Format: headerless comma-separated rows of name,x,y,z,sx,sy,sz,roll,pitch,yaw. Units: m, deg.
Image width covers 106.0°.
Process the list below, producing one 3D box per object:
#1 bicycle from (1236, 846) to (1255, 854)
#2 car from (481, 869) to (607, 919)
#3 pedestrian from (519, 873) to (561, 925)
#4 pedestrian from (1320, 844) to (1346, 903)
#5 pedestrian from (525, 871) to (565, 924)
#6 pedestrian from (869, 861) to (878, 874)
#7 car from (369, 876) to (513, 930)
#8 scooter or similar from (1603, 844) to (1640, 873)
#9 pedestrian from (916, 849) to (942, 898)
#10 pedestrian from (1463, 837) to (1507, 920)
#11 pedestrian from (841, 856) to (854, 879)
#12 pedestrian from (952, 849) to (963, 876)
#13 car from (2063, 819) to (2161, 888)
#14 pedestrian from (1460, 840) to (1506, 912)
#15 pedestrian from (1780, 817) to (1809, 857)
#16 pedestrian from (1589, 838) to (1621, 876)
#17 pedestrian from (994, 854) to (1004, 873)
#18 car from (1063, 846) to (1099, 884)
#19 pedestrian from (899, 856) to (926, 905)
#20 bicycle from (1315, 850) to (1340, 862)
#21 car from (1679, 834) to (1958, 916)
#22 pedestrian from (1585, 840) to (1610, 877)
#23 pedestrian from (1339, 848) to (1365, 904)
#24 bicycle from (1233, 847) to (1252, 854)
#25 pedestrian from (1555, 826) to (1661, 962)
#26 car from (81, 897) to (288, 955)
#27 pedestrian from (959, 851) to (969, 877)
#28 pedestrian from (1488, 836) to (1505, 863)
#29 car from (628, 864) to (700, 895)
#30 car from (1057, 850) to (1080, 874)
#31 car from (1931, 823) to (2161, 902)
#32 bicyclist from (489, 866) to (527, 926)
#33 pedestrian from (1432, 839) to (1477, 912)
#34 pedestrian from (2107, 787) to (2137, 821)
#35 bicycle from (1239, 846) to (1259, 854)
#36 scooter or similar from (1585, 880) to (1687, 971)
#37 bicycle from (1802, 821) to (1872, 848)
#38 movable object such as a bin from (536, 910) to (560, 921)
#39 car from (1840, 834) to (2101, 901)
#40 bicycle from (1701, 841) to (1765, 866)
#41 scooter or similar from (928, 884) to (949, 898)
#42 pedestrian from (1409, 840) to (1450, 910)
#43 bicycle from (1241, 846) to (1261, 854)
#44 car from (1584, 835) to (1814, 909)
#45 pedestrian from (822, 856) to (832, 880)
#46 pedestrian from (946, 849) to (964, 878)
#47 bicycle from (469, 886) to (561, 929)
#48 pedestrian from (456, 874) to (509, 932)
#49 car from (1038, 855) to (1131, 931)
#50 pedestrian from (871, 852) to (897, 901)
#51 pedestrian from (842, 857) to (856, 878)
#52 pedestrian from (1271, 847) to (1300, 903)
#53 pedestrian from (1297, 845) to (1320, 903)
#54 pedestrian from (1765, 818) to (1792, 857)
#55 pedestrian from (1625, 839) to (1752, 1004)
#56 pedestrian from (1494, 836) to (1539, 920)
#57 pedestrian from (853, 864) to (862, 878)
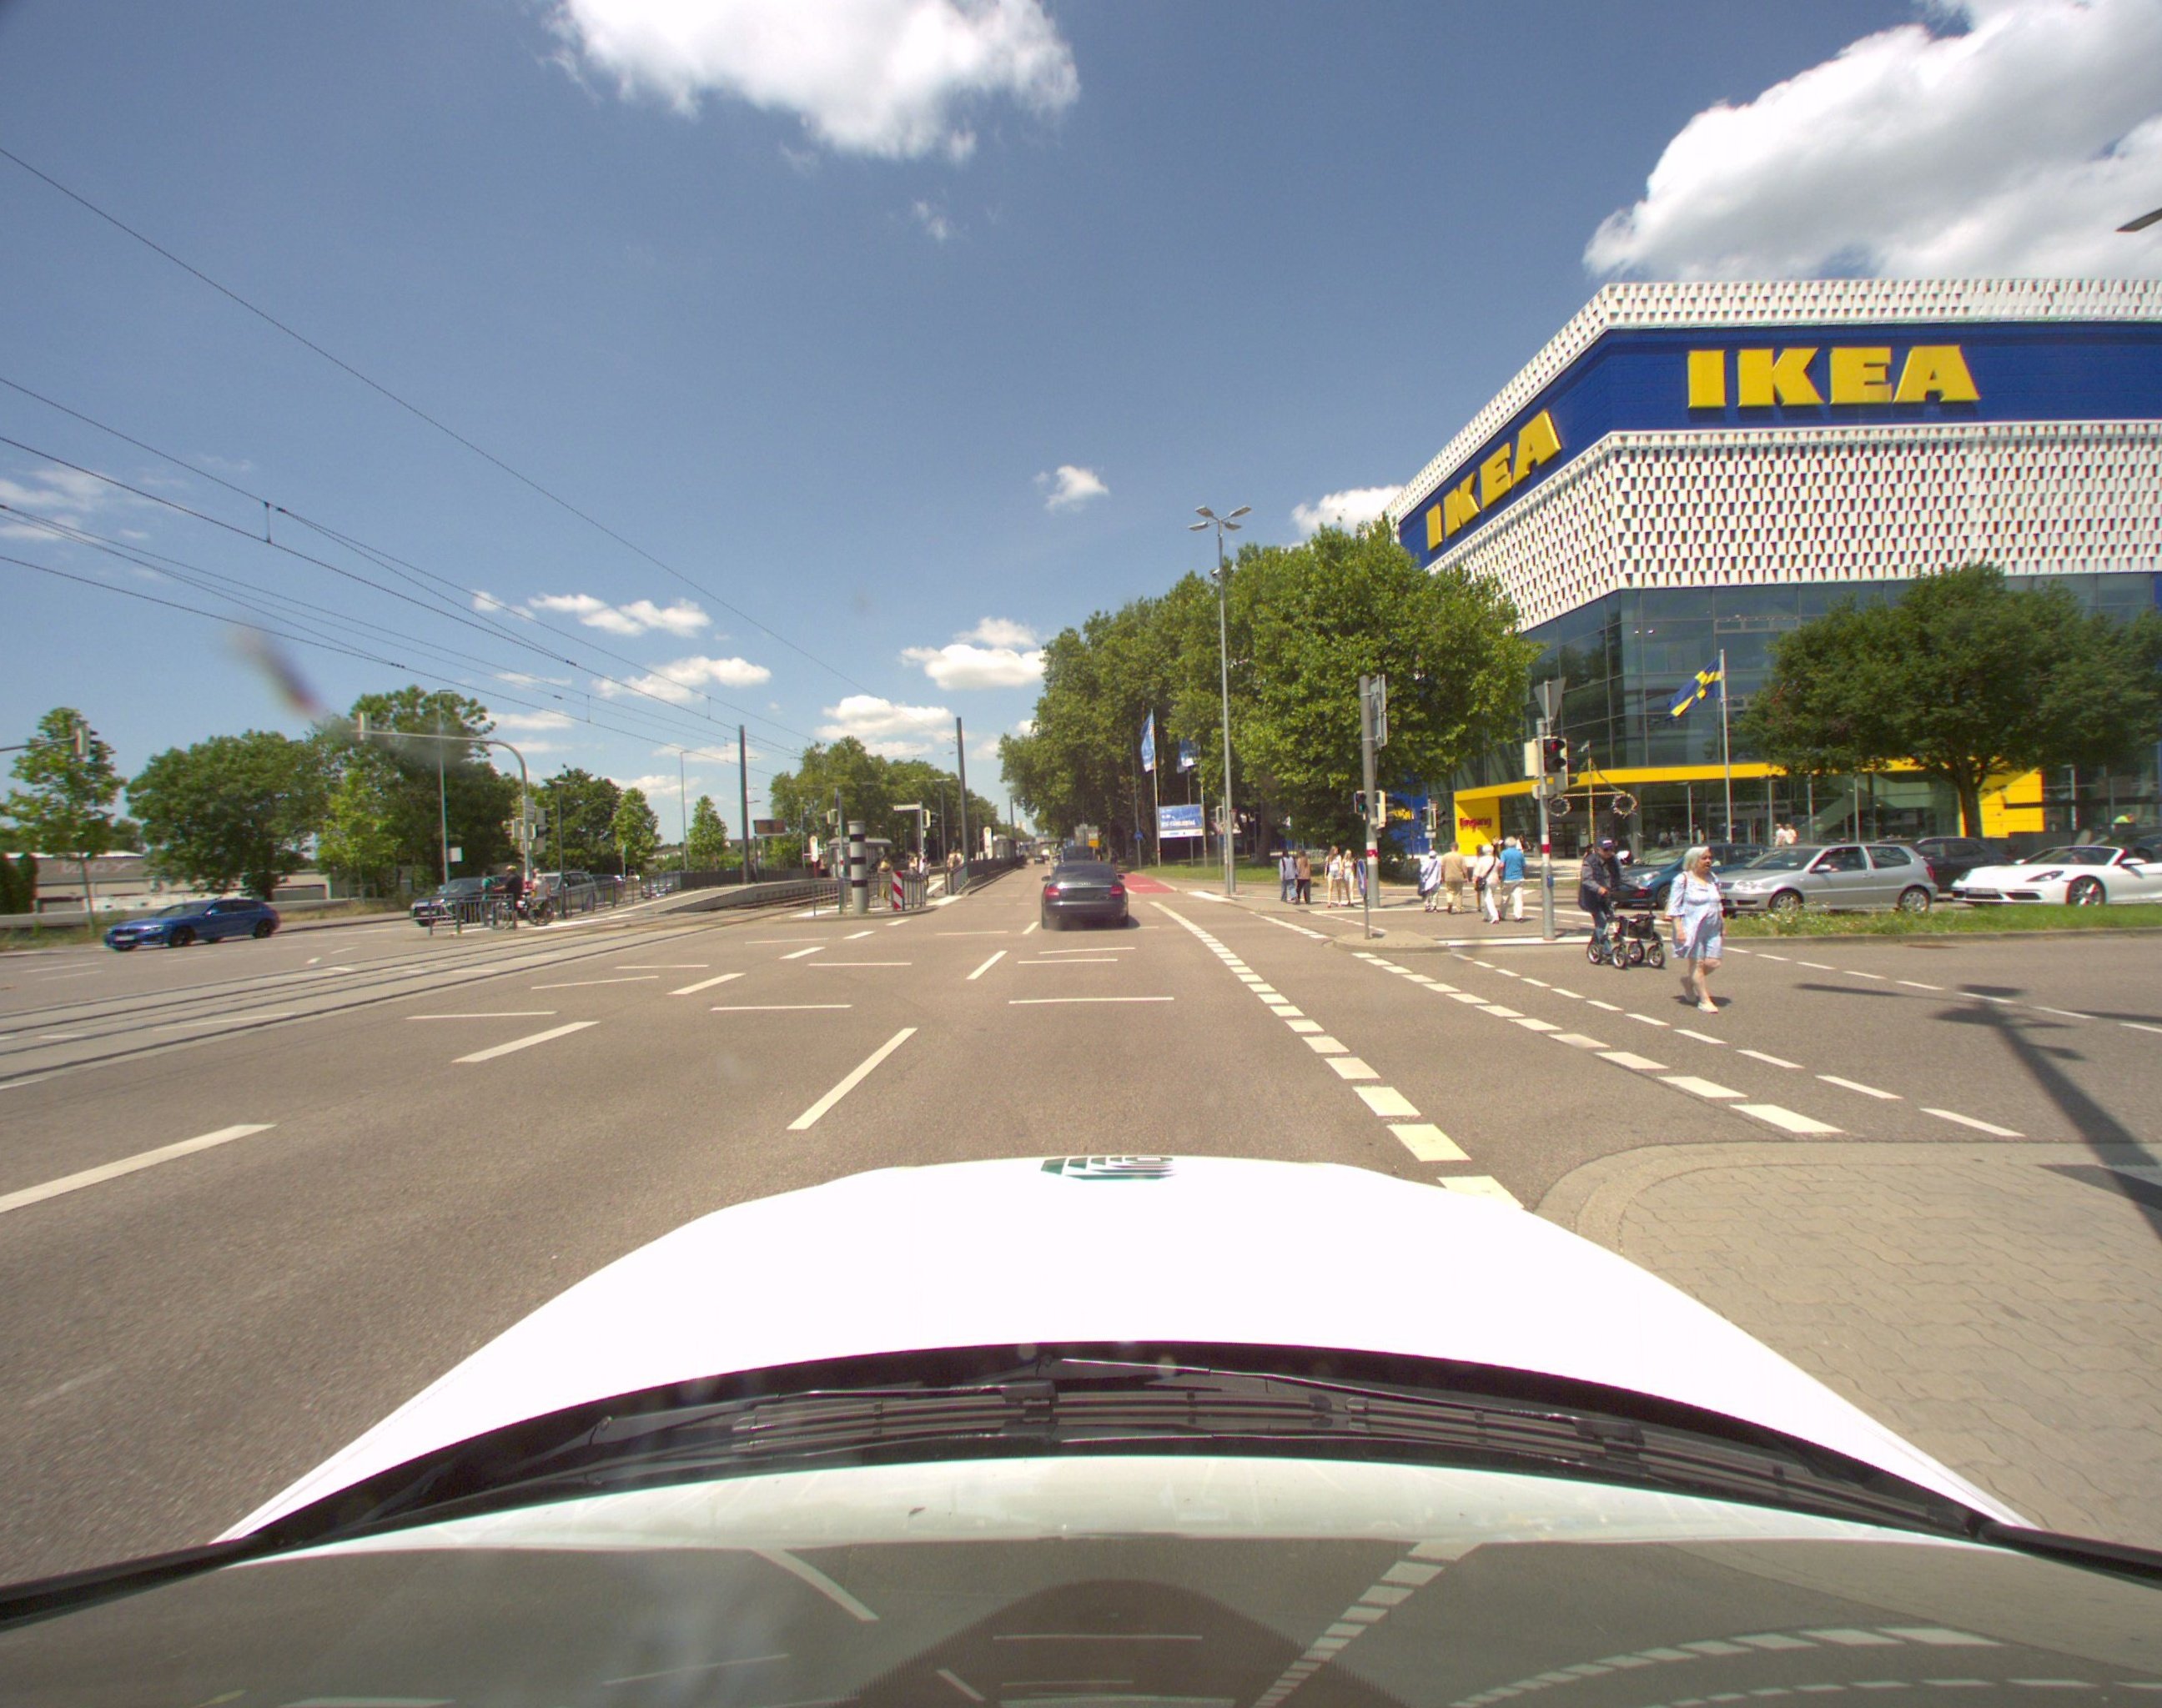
bicycle,23.015,-0.515,114.084,2.543,1.110,0.757,-1,0,-7
car,-19.703,1.421,30.101,1.988,1.629,3.998,-1,0,-1
pedestrian,-16.701,1.383,25.149,0.760,1.548,0.763,-2,0,-5
pedestrian,7.169,0.551,23.201,0.525,1.666,0.640,-1,0,2
pedestrian,-17.354,1.398,26.389,0.760,1.672,0.763,-2,0,-5
pedestrian,-18.867,1.223,73.985,0.575,1.190,0.638,-2,0,-2
car,-22.758,1.685,29.202,1.988,1.629,3.998,-2,0,-1
scooter or similar,23.336,0.195,35.176,1.071,1.198,0.727,-1,0,-4
pedestrian,-5.840,0.737,31.276,0.861,1.802,0.882,-1,0,-6
pedestrian,8.160,0.493,16.467,0.601,1.638,0.867,-2,-2,16
pedestrian,-17.859,1.005,62.344,0.729,1.729,0.582,-2,0,35
pedestrian,-7.738,0.516,51.097,0.612,1.681,0.719,-1,0,-4
car,26.790,-0.054,19.457,4.386,1.584,1.863,-1,0,0
pedestrian,9.528,0.513,19.336,0.789,1.659,0.855,-2,0,15
pedestrian,37.229,-0.879,42.506,0.793,2.013,0.734,-2,0,6
pedestrian,22.486,0.109,34.932,0.917,1.586,0.632,-2,0,-8
pedestrian,-7.206,0.808,71.695,0.731,1.665,0.741,-2,0,-3
car,-0.008,0.569,44.646,1.843,1.959,4.143,-1,0,0
pedestrian,-5.603,0.864,27.110,0.784,1.572,0.763,-1,0,-5
bicycle,23.187,0.186,76.632,2.057,0.969,0.867,-2,0,-7
car,14.108,0.383,15.730,3.813,1.397,1.802,-1,0,-2
pedestrian,22.592,0.183,35.632,0.609,1.586,0.632,-2,0,-7
pedestrian,7.801,0.637,23.472,0.525,1.580,0.612,-1,0,2
bicycle,22.909,-0.502,115.349,2.543,0.970,0.757,-1,0,-7
pedestrian,6.848,0.501,10.626,0.778,1.672,0.948,-1,0,5
car,-28.862,2.257,26.469,1.989,1.445,4.345,-1,0,-3
pedestrian,-7.167,0.605,49.825,0.496,1.577,0.556,-2,0,-4
pedestrian,27.512,-0.288,53.929,0.776,1.736,0.743,-2,0,10
car,-23.425,1.390,45.946,1.988,1.629,3.998,-1,0,-1
car,-1.047,0.639,69.802,1.843,1.959,4.143,-1,0,0
car,19.695,0.125,15.973,4.206,1.398,1.803,-2,0,-1
bicyclist,-16.007,1.151,22.753,0.666,1.615,0.729,-1,0,-18
pedestrian,8.711,0.498,19.028,0.789,1.659,0.855,-2,0,15
pedestrian,50.824,-2.436,39.759,0.765,1.586,0.578,-2,0,-8
bicycle,23.253,-0.531,112.836,2.543,1.110,0.757,-1,0,-7
scooter or similar,6.815,0.859,10.048,0.686,1.031,0.864,-1,0,5
bicycle,36.781,-0.931,39.669,0.801,1.199,2.420,-2,0,-15
movable object such as a bin,-17.003,1.958,25.975,0.570,0.321,0.228,-2,0,-6
car,21.116,0.310,19.460,4.390,1.443,1.851,-1,0,-3
bicycle,31.857,-0.017,39.813,0.801,1.145,2.420,-1,0,-15
scooter or similar,-5.503,1.440,31.472,0.725,0.506,0.456,-2,0,-6
pedestrian,8.605,0.510,20.136,0.789,1.659,0.855,-2,0,15
bicycle,23.364,-0.542,111.800,2.543,1.110,0.757,-1,0,-7
car,14.389,0.394,19.119,3.979,1.555,1.997,-1,0,-4
pedestrian,-17.795,0.996,57.076,0.557,1.638,0.804,-2,0,-9
pedestrian,-7.380,0.551,47.838,0.888,1.605,0.923,-2,0,-3
bicycle,-16.055,1.502,23.149,1.977,1.101,0.760,-1,0,-18
pedestrian,-17.600,1.428,23.967,0.955,1.610,0.763,-2,0,-5
car,0.091,0.823,18.218,1.836,1.484,3.999,0,-1,0
pedestrian,-6.870,0.783,28.438,0.731,1.673,0.677,-1,0,-5
pedestrian,-18.171,1.068,63.754,0.817,1.638,0.582,-2,0,35
pedestrian,5.992,0.599,23.791,0.759,1.606,0.900,-2,0,15
pedestrian,6.789,0.592,24.300,0.618,1.683,0.729,-2,0,15
pedestrian,37.327,-0.871,43.559,0.792,2.013,0.735,-2,0,10
pedestrian,5.732,0.610,7.726,0.587,1.476,0.806,0,0,0
pedestrian,8.781,0.483,16.444,0.598,1.638,0.867,-2,-2,16
pedestrian,-18.231,1.370,66.420,0.575,1.094,0.638,-2,0,-2
